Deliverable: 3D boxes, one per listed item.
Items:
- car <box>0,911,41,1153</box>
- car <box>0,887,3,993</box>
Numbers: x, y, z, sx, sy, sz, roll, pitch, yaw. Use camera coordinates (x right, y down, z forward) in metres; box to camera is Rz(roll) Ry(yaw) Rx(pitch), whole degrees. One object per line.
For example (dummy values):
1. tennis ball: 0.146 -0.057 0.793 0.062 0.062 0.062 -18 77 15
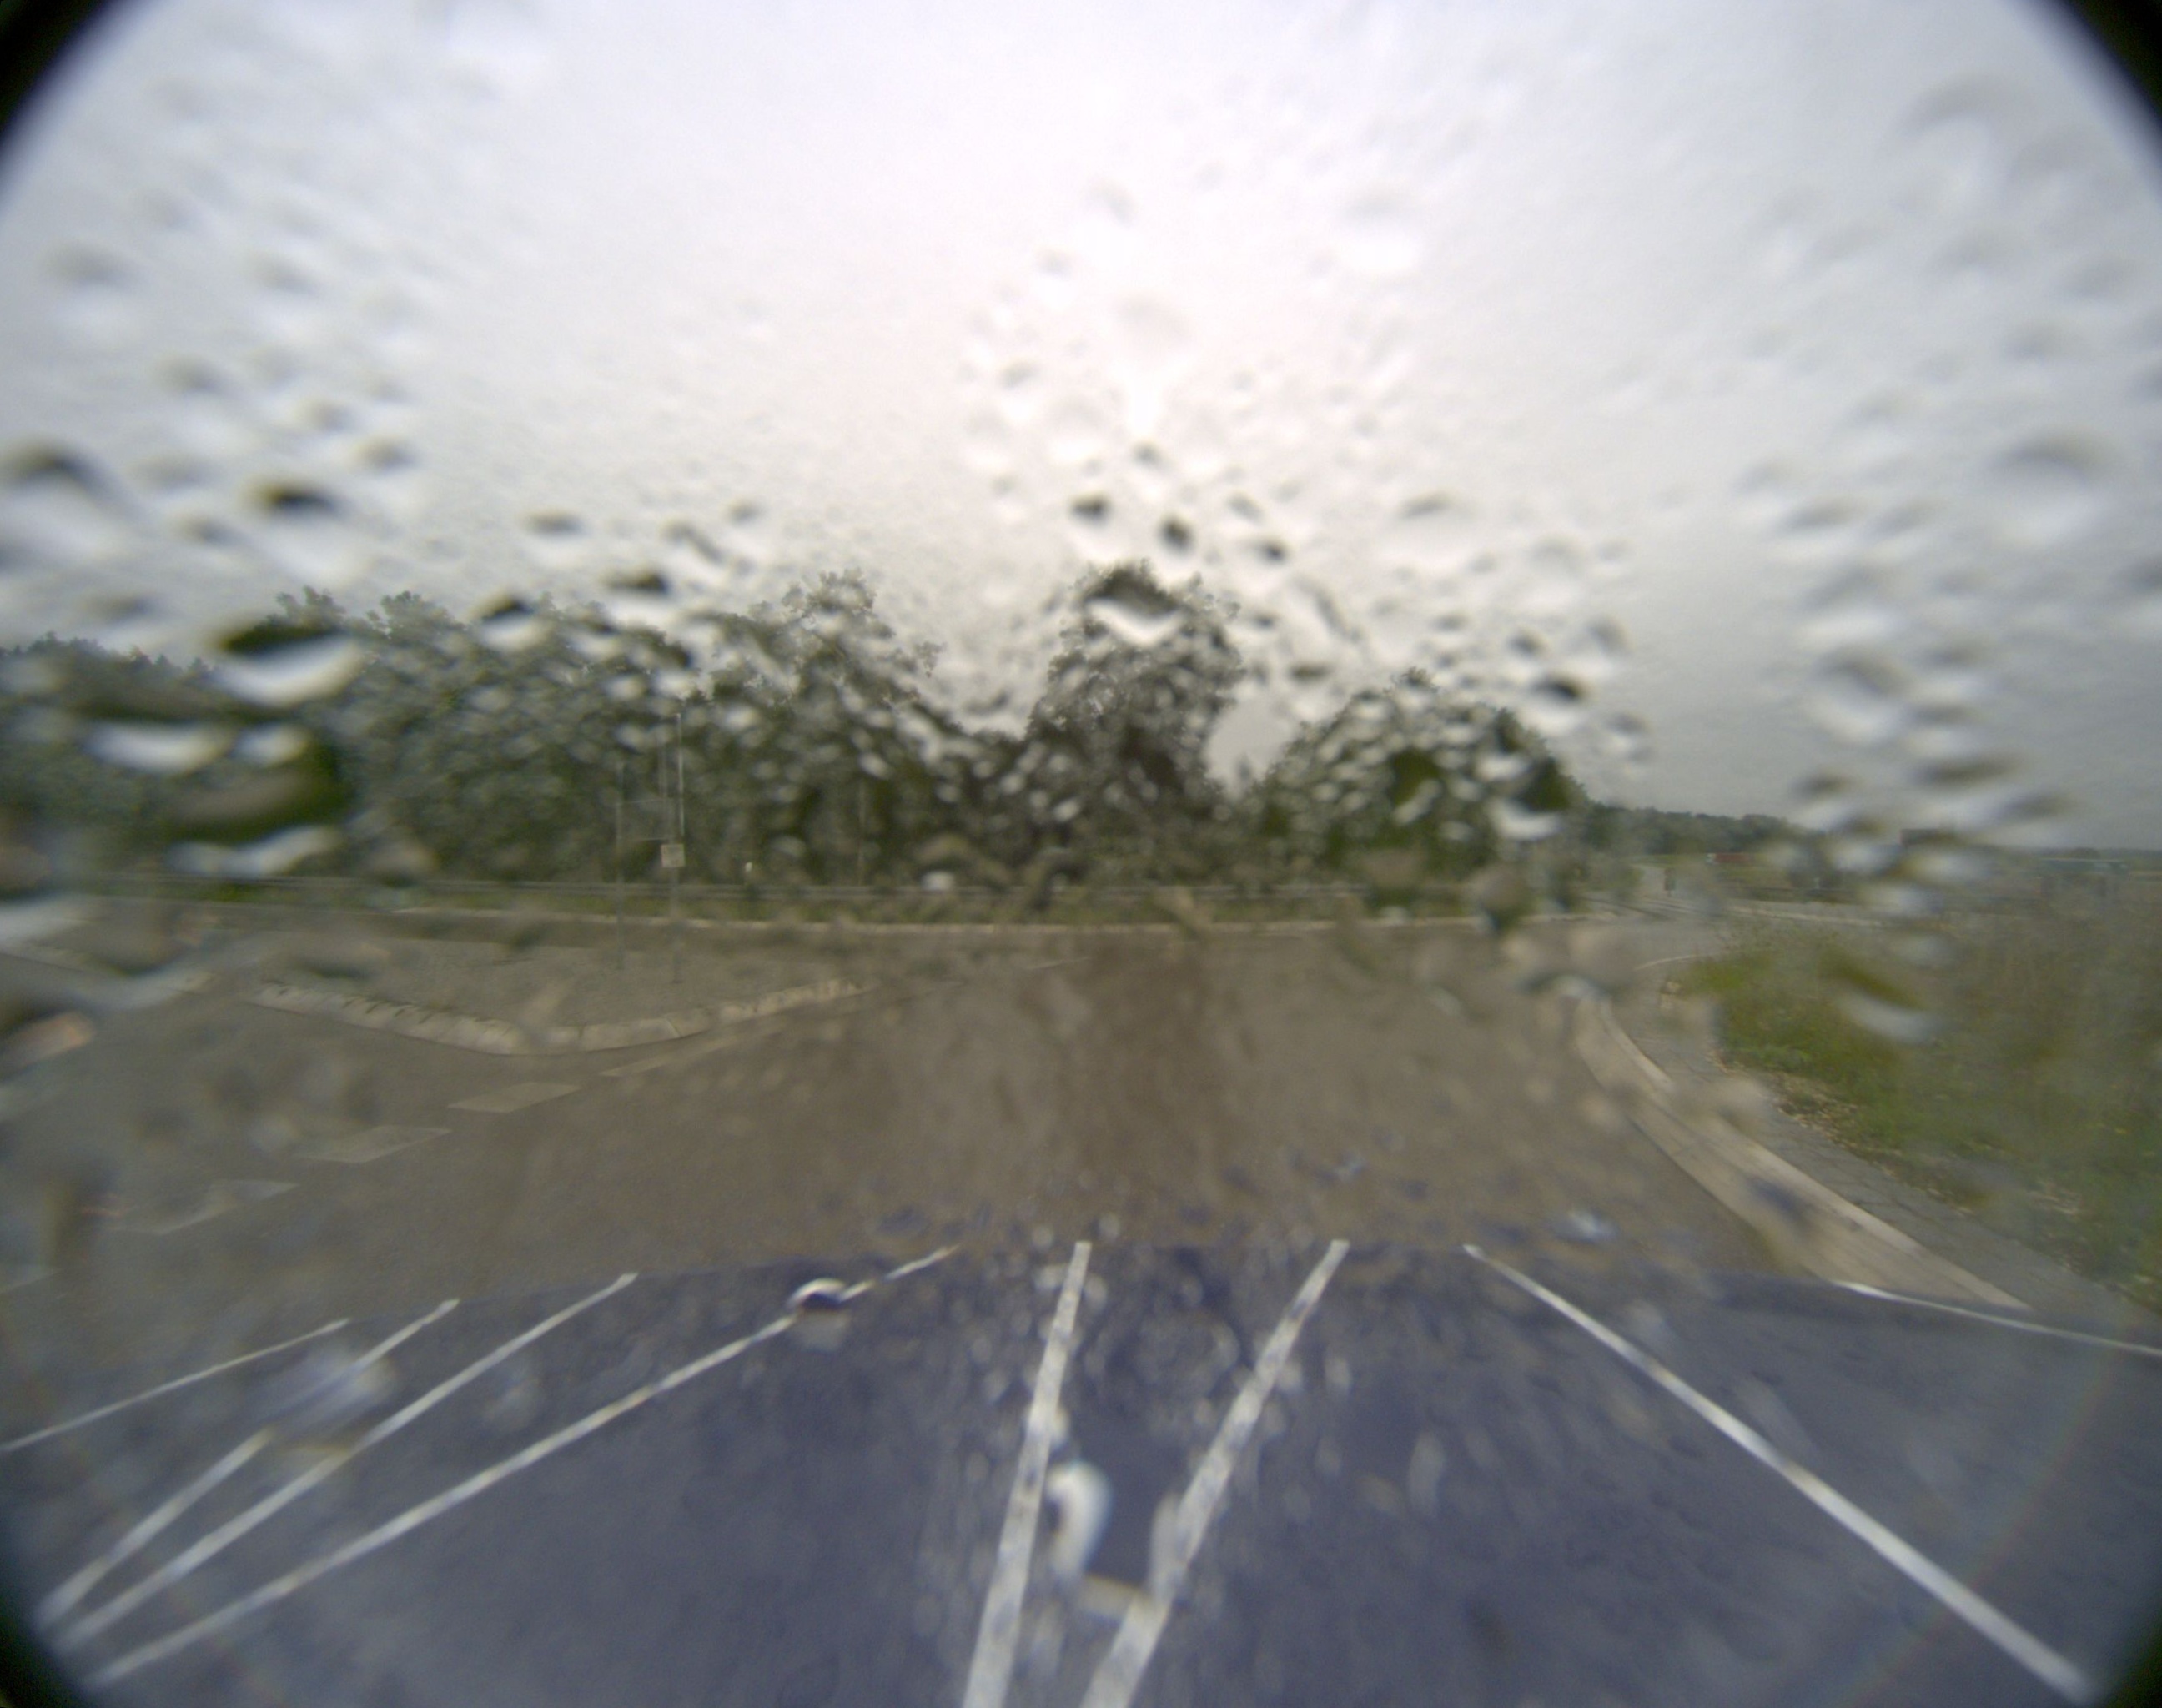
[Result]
1. car: -6.484 1.077 3.279 4.491 1.412 1.878 -1 -1 42
2. car: -16.357 1.143 10.112 4.491 1.363 1.954 -1 -1 31
